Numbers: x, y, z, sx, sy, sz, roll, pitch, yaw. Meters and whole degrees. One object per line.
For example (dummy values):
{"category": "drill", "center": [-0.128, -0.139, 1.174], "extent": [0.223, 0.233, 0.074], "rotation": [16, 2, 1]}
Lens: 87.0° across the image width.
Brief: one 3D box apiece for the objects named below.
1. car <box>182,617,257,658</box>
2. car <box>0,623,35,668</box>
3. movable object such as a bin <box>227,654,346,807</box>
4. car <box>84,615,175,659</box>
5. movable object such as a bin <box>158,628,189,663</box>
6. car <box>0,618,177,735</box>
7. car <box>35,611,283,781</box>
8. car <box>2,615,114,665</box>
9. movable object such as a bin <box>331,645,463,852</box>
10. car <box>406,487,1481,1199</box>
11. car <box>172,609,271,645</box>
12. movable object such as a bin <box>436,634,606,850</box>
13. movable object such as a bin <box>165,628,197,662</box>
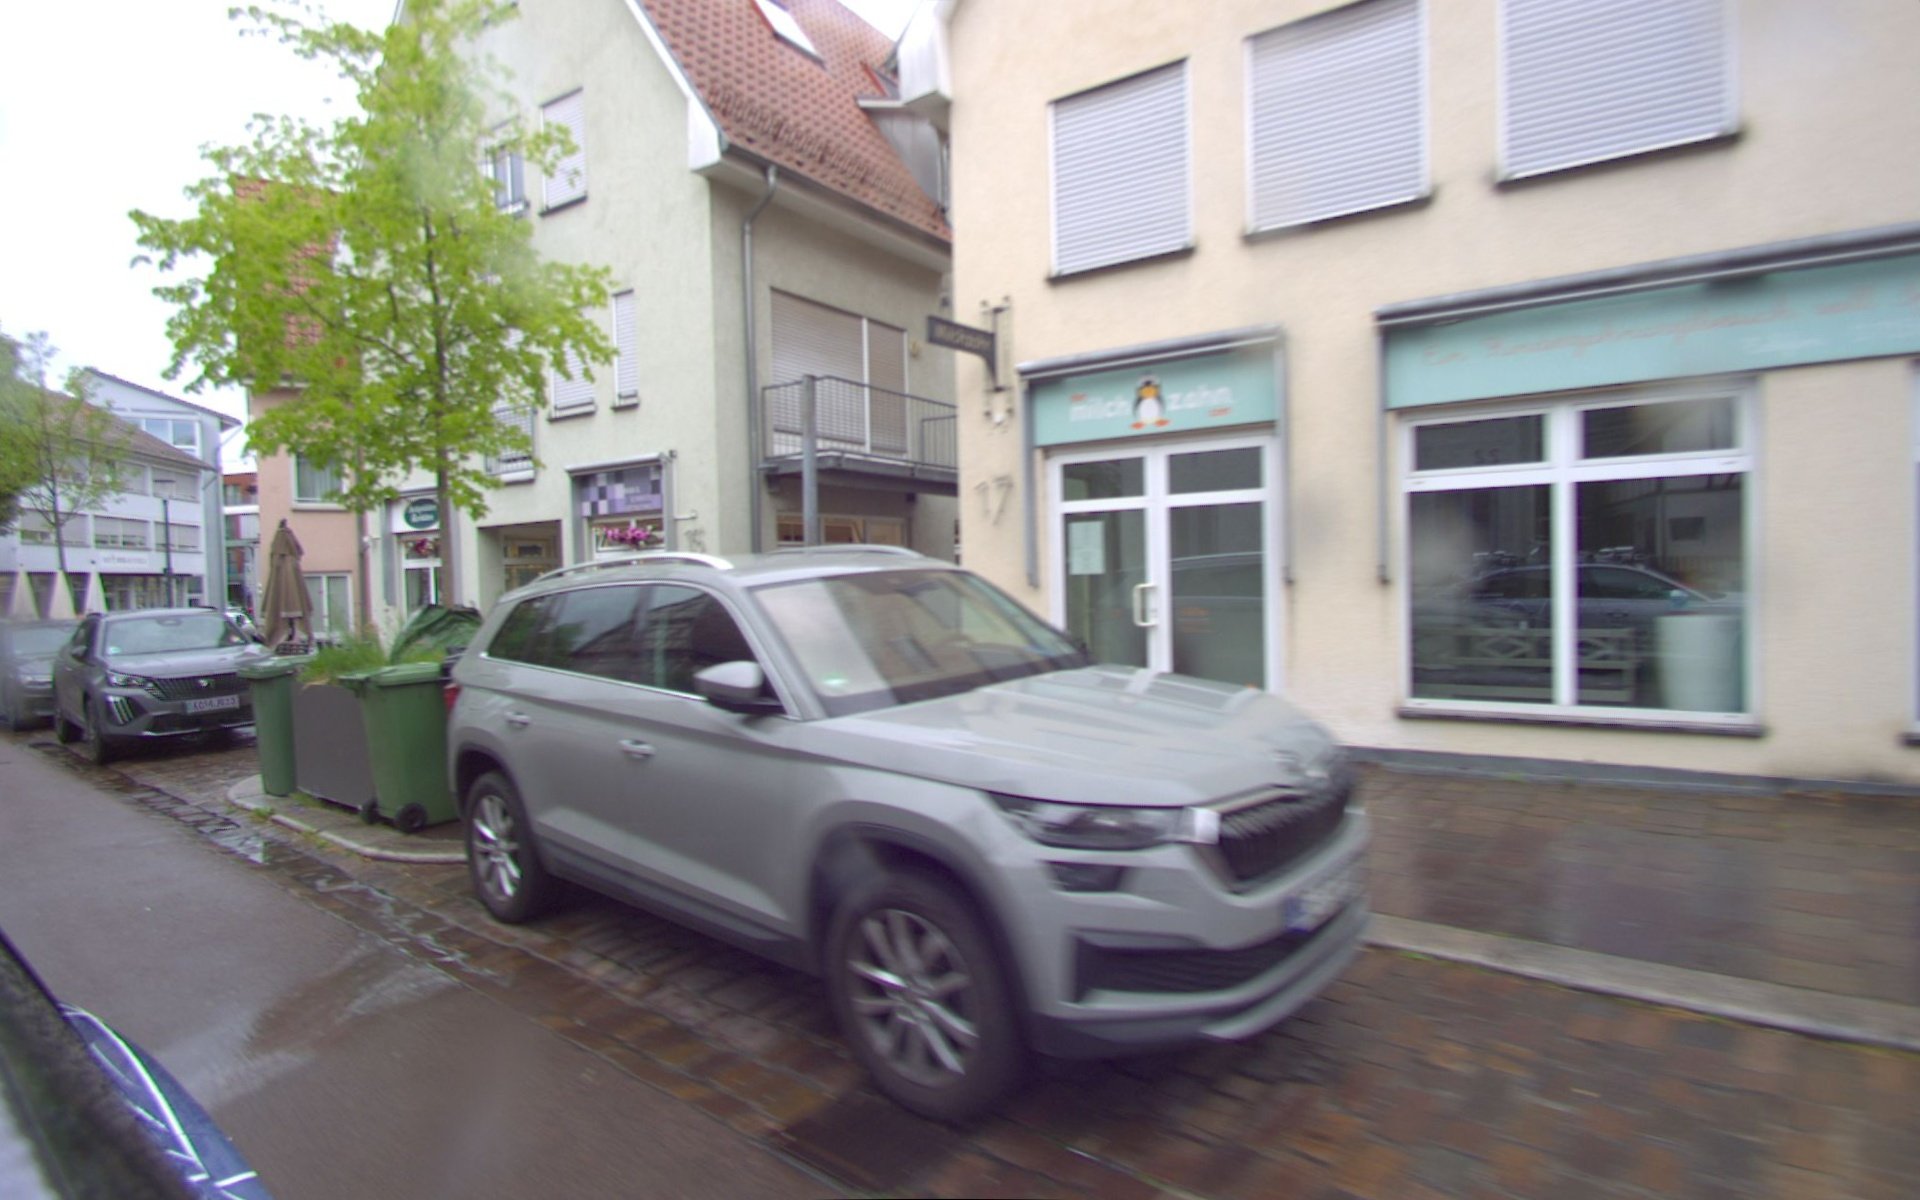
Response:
{"category": "car", "center": [-29.044, 1.427, 39.786], "extent": [1.666, 1.433, 3.829], "rotation": [-1, 0, -25]}
{"category": "car", "center": [-33.970, 1.589, 34.561], "extent": [1.667, 1.551, 4.416], "rotation": [-1, -1, -16]}
{"category": "movable object such as a bin", "center": [-5.372, 1.006, 8.069], "extent": [0.725, 1.087, 0.614], "rotation": [0, 1, 42]}
{"category": "car", "center": [-36.997, 1.609, 45.207], "extent": [1.666, 1.702, 4.292], "rotation": [-1, 1, -18]}
{"category": "movable object such as a bin", "center": [-26.588, 1.527, 34.217], "extent": [0.650, 1.117, 0.626], "rotation": [-1, 1, -22]}
{"category": "car", "center": [-13.680, 1.087, 15.229], "extent": [4.618, 1.443, 1.785], "rotation": [-3, 0, 36]}
{"category": "car", "center": [-9.301, 0.942, 11.639], "extent": [3.976, 1.557, 1.576], "rotation": [0, 1, 42]}
{"category": "car", "center": [-35.343, 1.507, 39.781], "extent": [1.667, 1.702, 3.969], "rotation": [-1, 1, -15]}
{"category": "movable object such as a bin", "center": [-3.648, 0.924, 6.562], "extent": [0.523, 1.210, 0.595], "rotation": [0, 1, 44]}
{"category": "car", "center": [-0.508, 0.571, 4.235], "extent": [4.478, 1.687, 1.753], "rotation": [0, 3, 42]}
{"category": "car", "center": [-34.307, 1.237, 47.151], "extent": [1.969, 1.464, 4.005], "rotation": [-1, 1, -5]}
{"category": "movable object such as a bin", "center": [-2.793, 0.851, 6.446], "extent": [0.749, 1.210, 0.736], "rotation": [0, 1, 42]}
{"category": "movable object such as a bin", "center": [-26.875, 1.535, 34.918], "extent": [0.682, 1.095, 0.548], "rotation": [-4, 2, -22]}
